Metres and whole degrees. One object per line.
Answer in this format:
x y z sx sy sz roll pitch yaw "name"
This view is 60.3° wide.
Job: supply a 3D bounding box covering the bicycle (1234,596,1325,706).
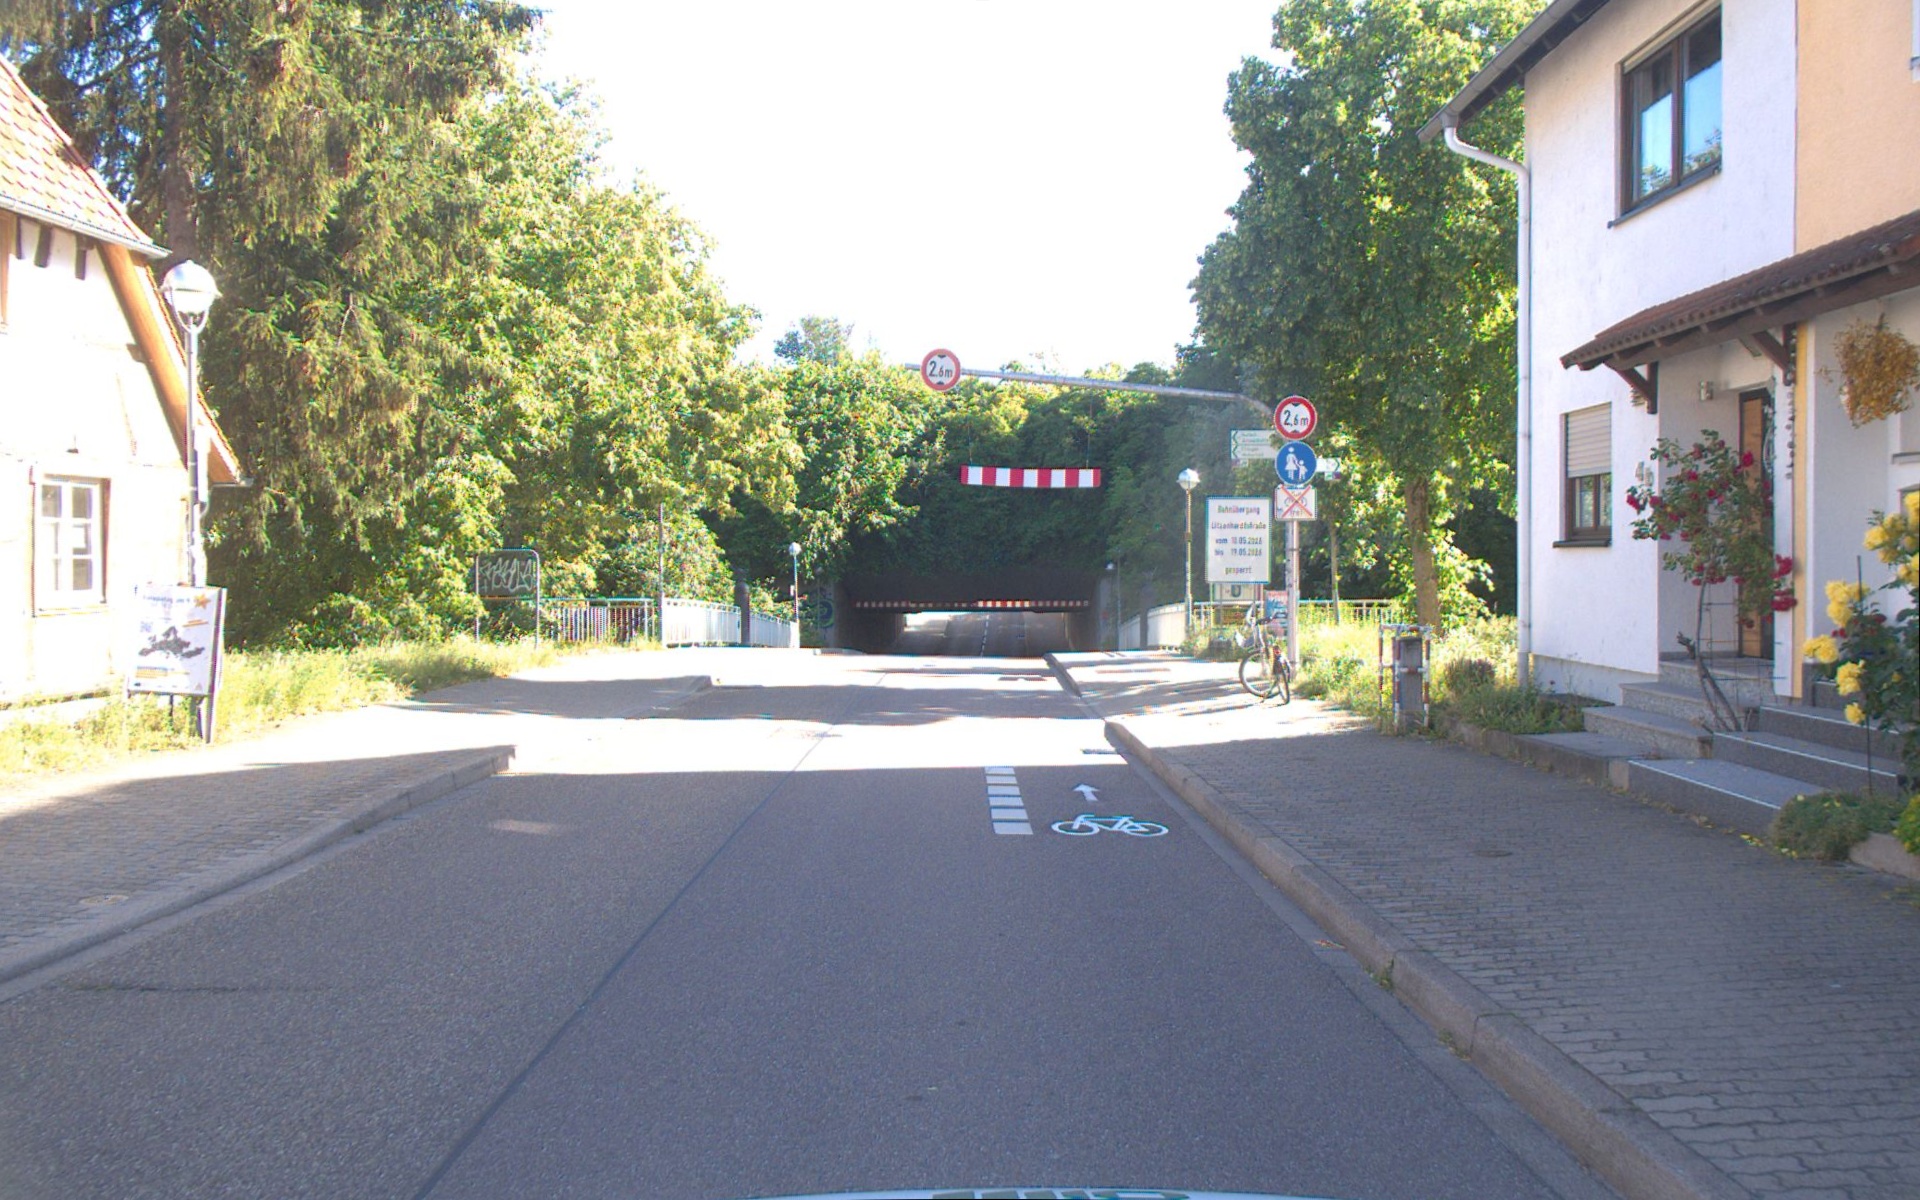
3.822 0.592 19.908 0.675 1.177 1.539 -6 1 0 "bicycle"
